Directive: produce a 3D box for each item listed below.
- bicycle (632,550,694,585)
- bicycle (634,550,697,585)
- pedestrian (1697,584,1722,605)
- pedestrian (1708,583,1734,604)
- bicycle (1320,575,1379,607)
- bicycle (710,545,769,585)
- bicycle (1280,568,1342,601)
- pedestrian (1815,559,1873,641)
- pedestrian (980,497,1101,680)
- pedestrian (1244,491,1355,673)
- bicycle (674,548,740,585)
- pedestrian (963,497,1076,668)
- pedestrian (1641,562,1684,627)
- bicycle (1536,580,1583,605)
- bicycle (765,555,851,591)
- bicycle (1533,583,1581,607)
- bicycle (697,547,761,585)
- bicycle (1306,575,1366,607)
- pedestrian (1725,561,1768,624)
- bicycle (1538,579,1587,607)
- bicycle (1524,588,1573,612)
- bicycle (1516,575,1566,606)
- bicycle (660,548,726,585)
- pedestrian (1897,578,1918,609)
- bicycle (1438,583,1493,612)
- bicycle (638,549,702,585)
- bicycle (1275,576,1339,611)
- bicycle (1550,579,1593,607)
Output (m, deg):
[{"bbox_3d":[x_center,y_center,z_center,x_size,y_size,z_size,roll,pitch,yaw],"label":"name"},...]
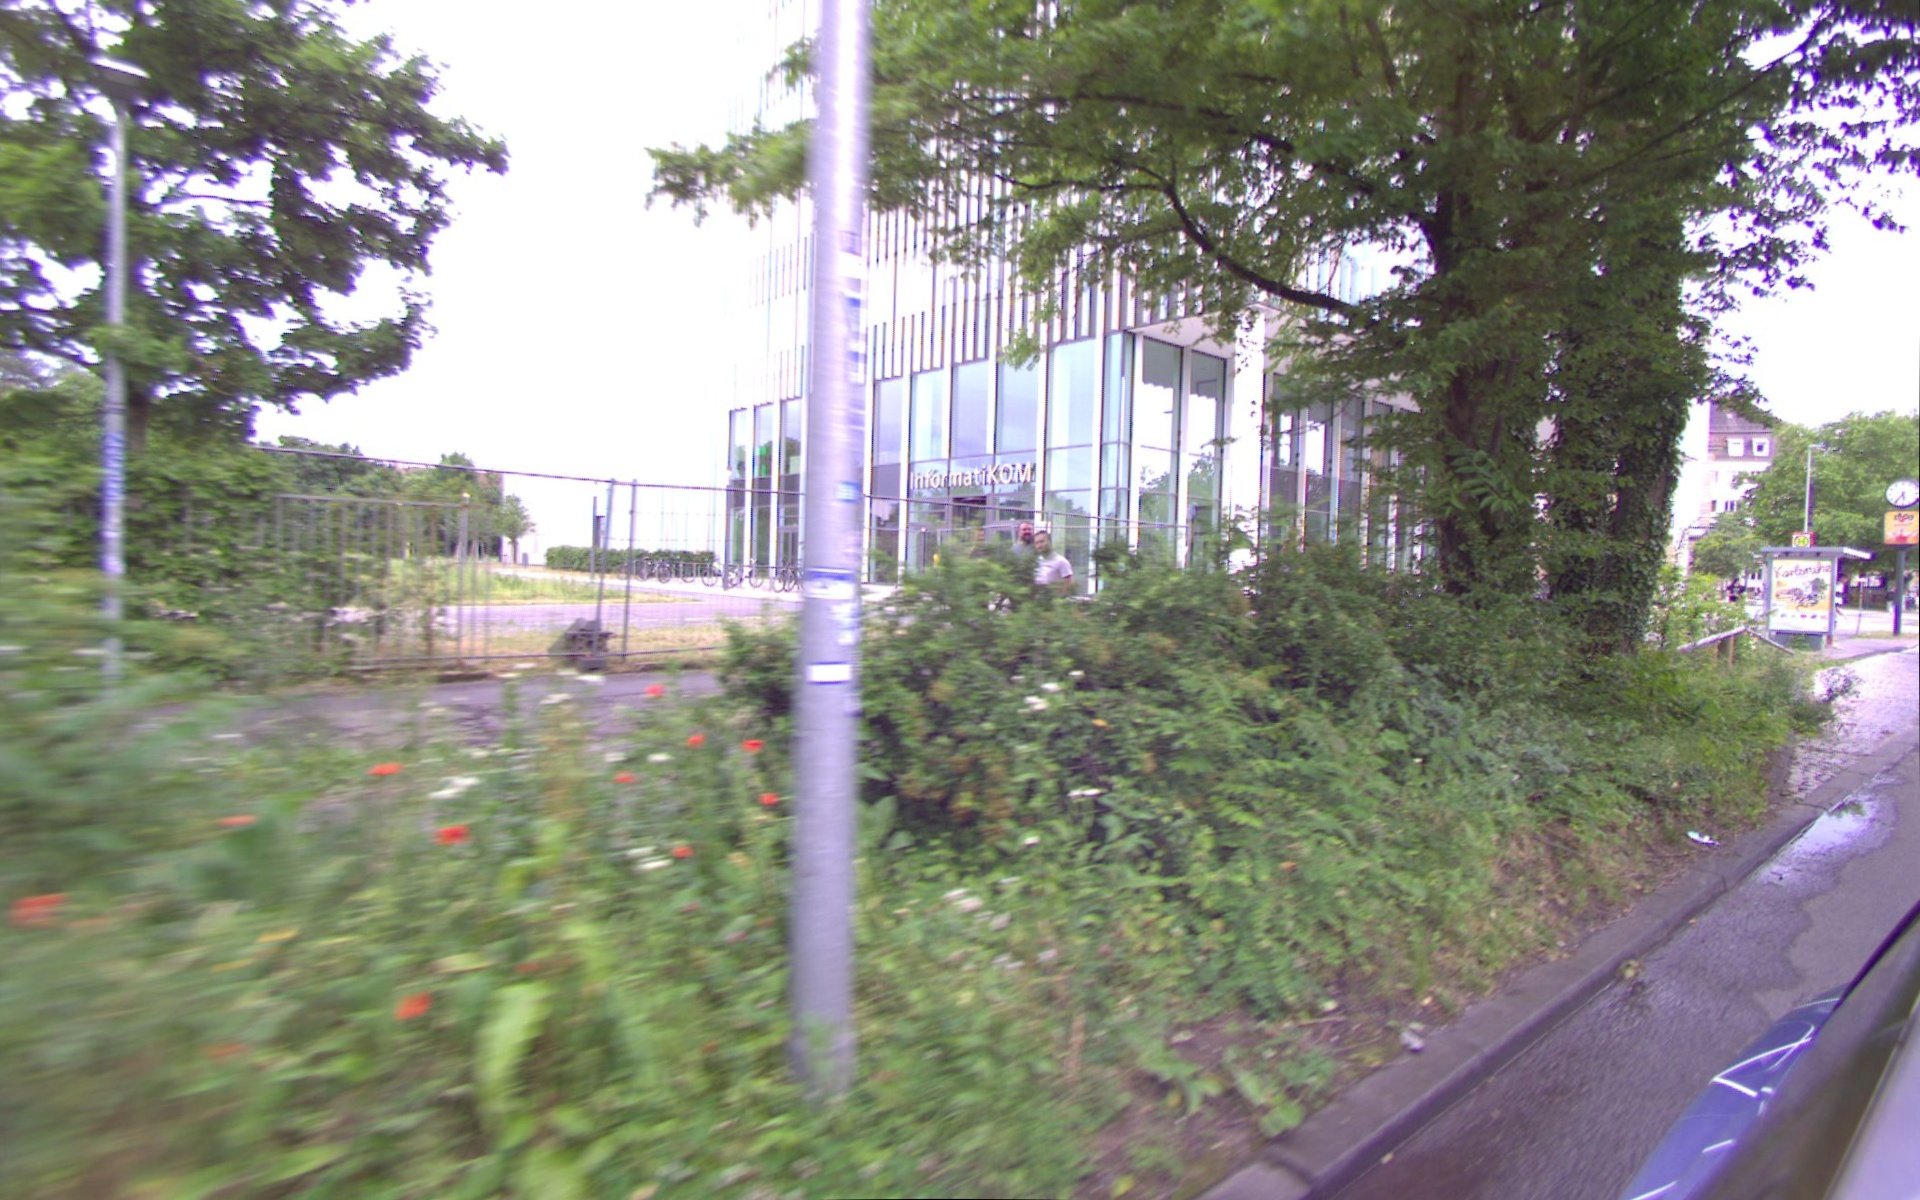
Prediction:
[{"bbox_3d":[-12.902,-1.406,43.998,2.425,1.411,0.883,0,2,-37],"label":"bicycle"},{"bbox_3d":[-12.535,-1.392,43.069,2.425,1.411,0.817,0,2,-37],"label":"bicycle"},{"bbox_3d":[45.852,-0.342,61.892,0.828,1.208,0.896,1,2,-27],"label":"pedestrian"},{"bbox_3d":[46.585,-0.414,61.933,0.876,1.221,0.847,2,2,-6],"label":"pedestrian"},{"bbox_3d":[12.061,-0.294,31.361,0.546,0.885,1.610,1,3,-40],"label":"bicycle"},{"bbox_3d":[-8.081,-1.285,37.182,2.006,1.412,0.670,0,2,-37],"label":"bicycle"},{"bbox_3d":[10.173,-0.454,29.346,0.546,0.885,1.610,1,3,-40],"label":"bicycle"},{"bbox_3d":[23.103,-0.007,26.447,0.839,2.038,0.914,3,2,-42],"label":"pedestrian"},{"bbox_3d":[0.953,-0.153,11.940,0.926,2.038,1.023,4,2,45],"label":"pedestrian"},{"bbox_3d":[3.989,-0.222,11.902,0.879,2.038,0.844,0,2,-42],"label":"pedestrian"},{"bbox_3d":[-10.047,-1.333,40.247,2.425,1.411,0.817,0,2,-37],"label":"bicycle"},{"bbox_3d":[0.750,-0.231,12.763,0.926,2.038,1.023,4,2,45],"label":"pedestrian"},{"bbox_3d":[20.798,-0.165,29.956,0.880,1.858,0.843,0,2,-44],"label":"pedestrian"},{"bbox_3d":[25.807,-0.326,43.607,0.557,0.947,1.615,2,4,-30],"label":"bicycle"},{"bbox_3d":[-5.191,-0.918,34.696,2.739,1.143,1.033,0,3,-37],"label":"bicycle"},{"bbox_3d":[24.652,-0.212,41.800,0.546,0.885,1.610,0,3,-40],"label":"bicycle"},{"bbox_3d":[-8.909,-1.309,39.101,2.304,1.412,0.673,0,2,-37],"label":"bicycle"},{"bbox_3d":[11.298,-0.278,30.452,0.546,0.885,1.610,1,3,-40],"label":"bicycle"},{"bbox_3d":[26.479,-0.264,34.085,0.878,2.037,0.845,0,4,-39],"label":"pedestrian"},{"bbox_3d":[25.095,-0.301,42.187,0.546,0.994,1.611,1,5,-40],"label":"bicycle"},{"bbox_3d":[23.856,0.004,41.042,0.546,0.885,1.611,0,3,-37],"label":"bicycle"},{"bbox_3d":[23.747,-0.388,41.375,0.561,1.104,1.652,1,5,-32],"label":"bicycle"},{"bbox_3d":[-10.829,-1.351,41.123,2.425,1.411,0.817,0,2,-37],"label":"bicycle"},{"bbox_3d":[63.396,-0.463,67.706,0.878,2.038,0.845,1,2,-39],"label":"pedestrian"},{"bbox_3d":[16.468,-0.080,32.982,0.546,0.849,1.458,0,3,-40],"label":"bicycle"},{"bbox_3d":[-12.107,-1.378,42.252,2.425,1.411,0.817,0,2,-37],"label":"bicycle"},{"bbox_3d":[9.727,-0.188,28.404,0.546,0.885,1.610,1,3,-40],"label":"bicycle"},{"bbox_3d":[25.625,-0.286,42.425,0.549,1.056,1.404,1,4,-40],"label":"bicycle"}]
